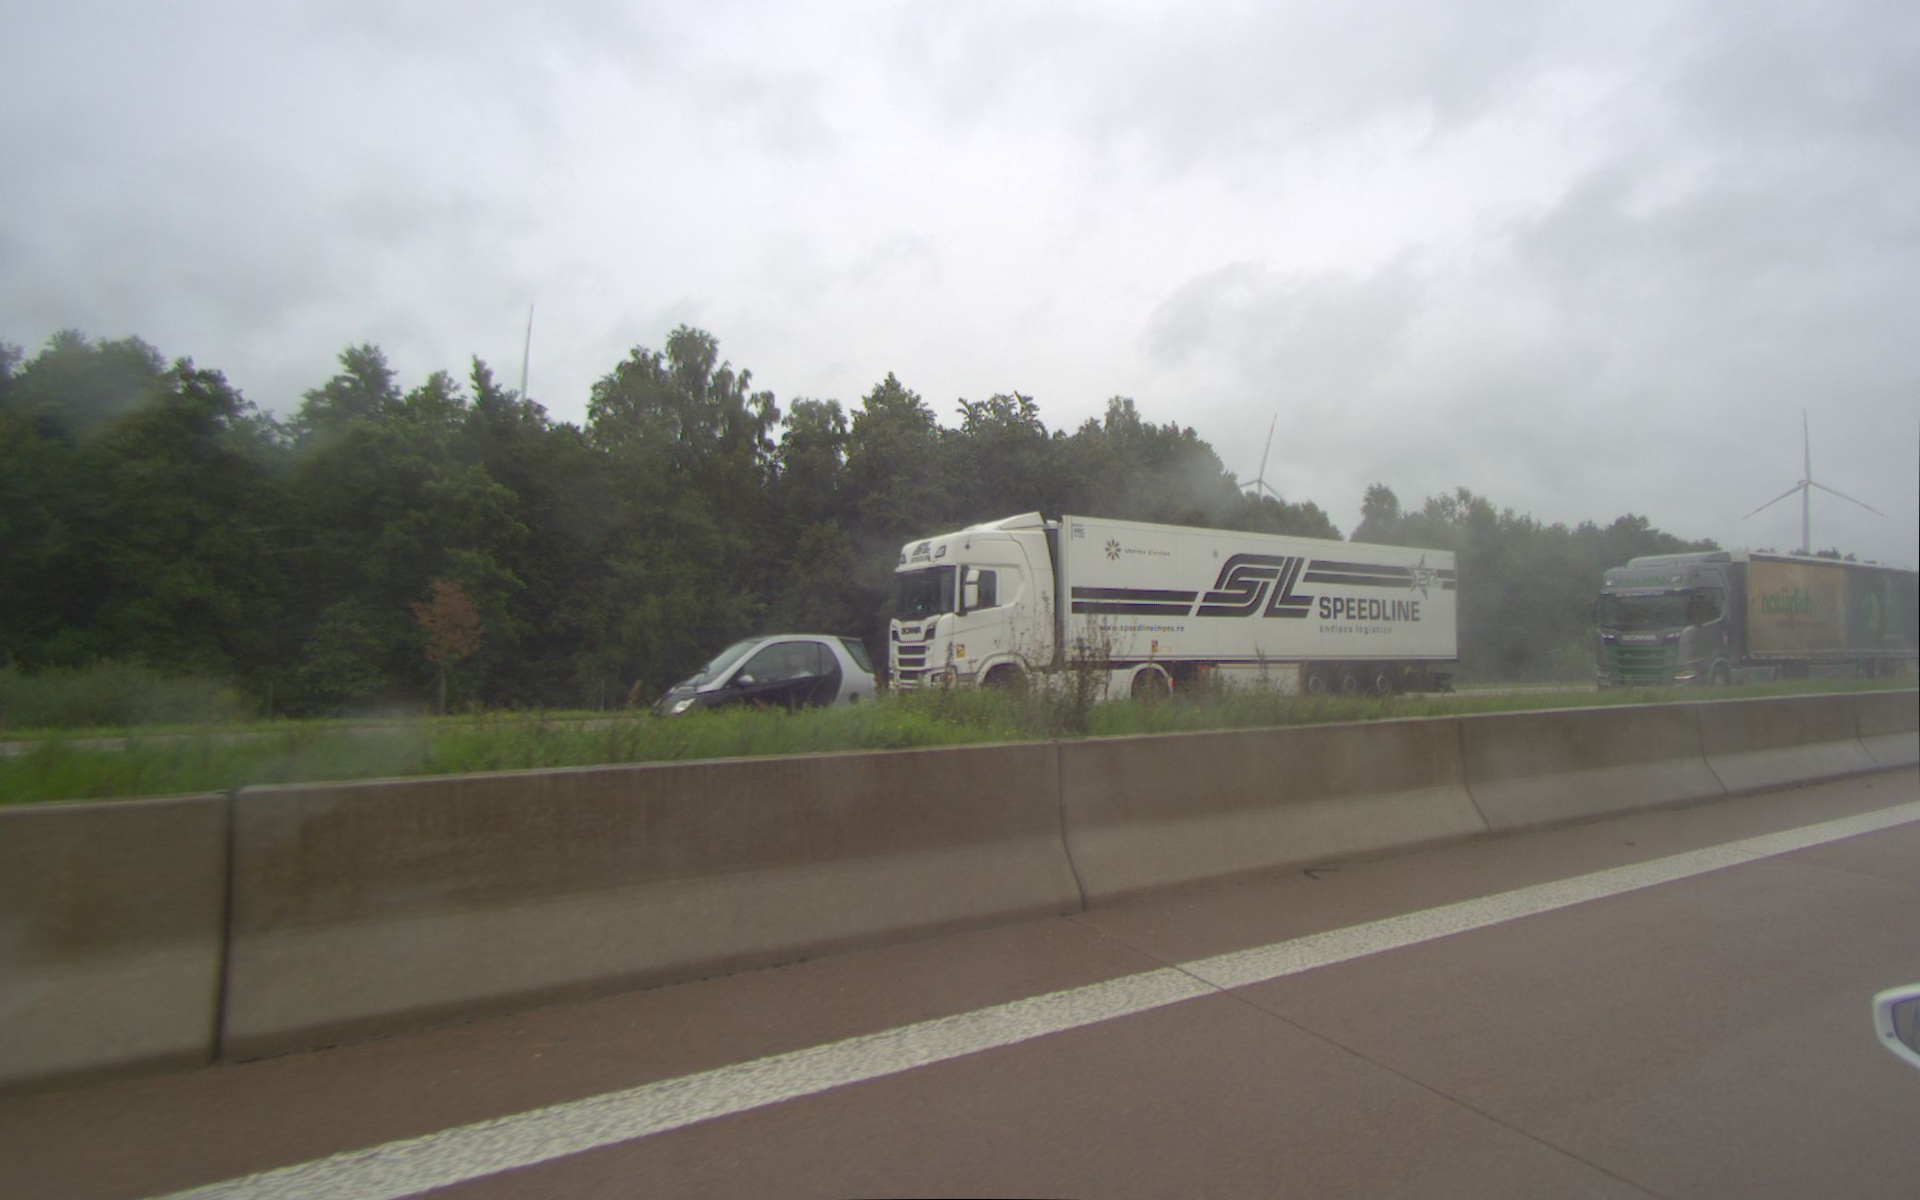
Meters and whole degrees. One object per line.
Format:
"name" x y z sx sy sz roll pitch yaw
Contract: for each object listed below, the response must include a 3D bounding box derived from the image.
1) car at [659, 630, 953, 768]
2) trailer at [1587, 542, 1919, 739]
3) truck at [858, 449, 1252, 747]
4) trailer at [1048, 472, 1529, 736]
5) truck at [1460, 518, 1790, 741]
"car" -1.752 1.052 11.586 3.048 1.375 1.409 1 -1 -30
"trailer" 25.432 1.212 31.545 14.079 5.126 3.969 2 0 -32
"truck" 2.205 0.049 21.932 8.065 5.450 3.402 2 0 -31
"trailer" 9.040 0.256 26.060 14.073 5.513 3.413 2 0 -31
"truck" 17.875 0.768 26.831 8.851 5.081 3.905 2 0 -31
